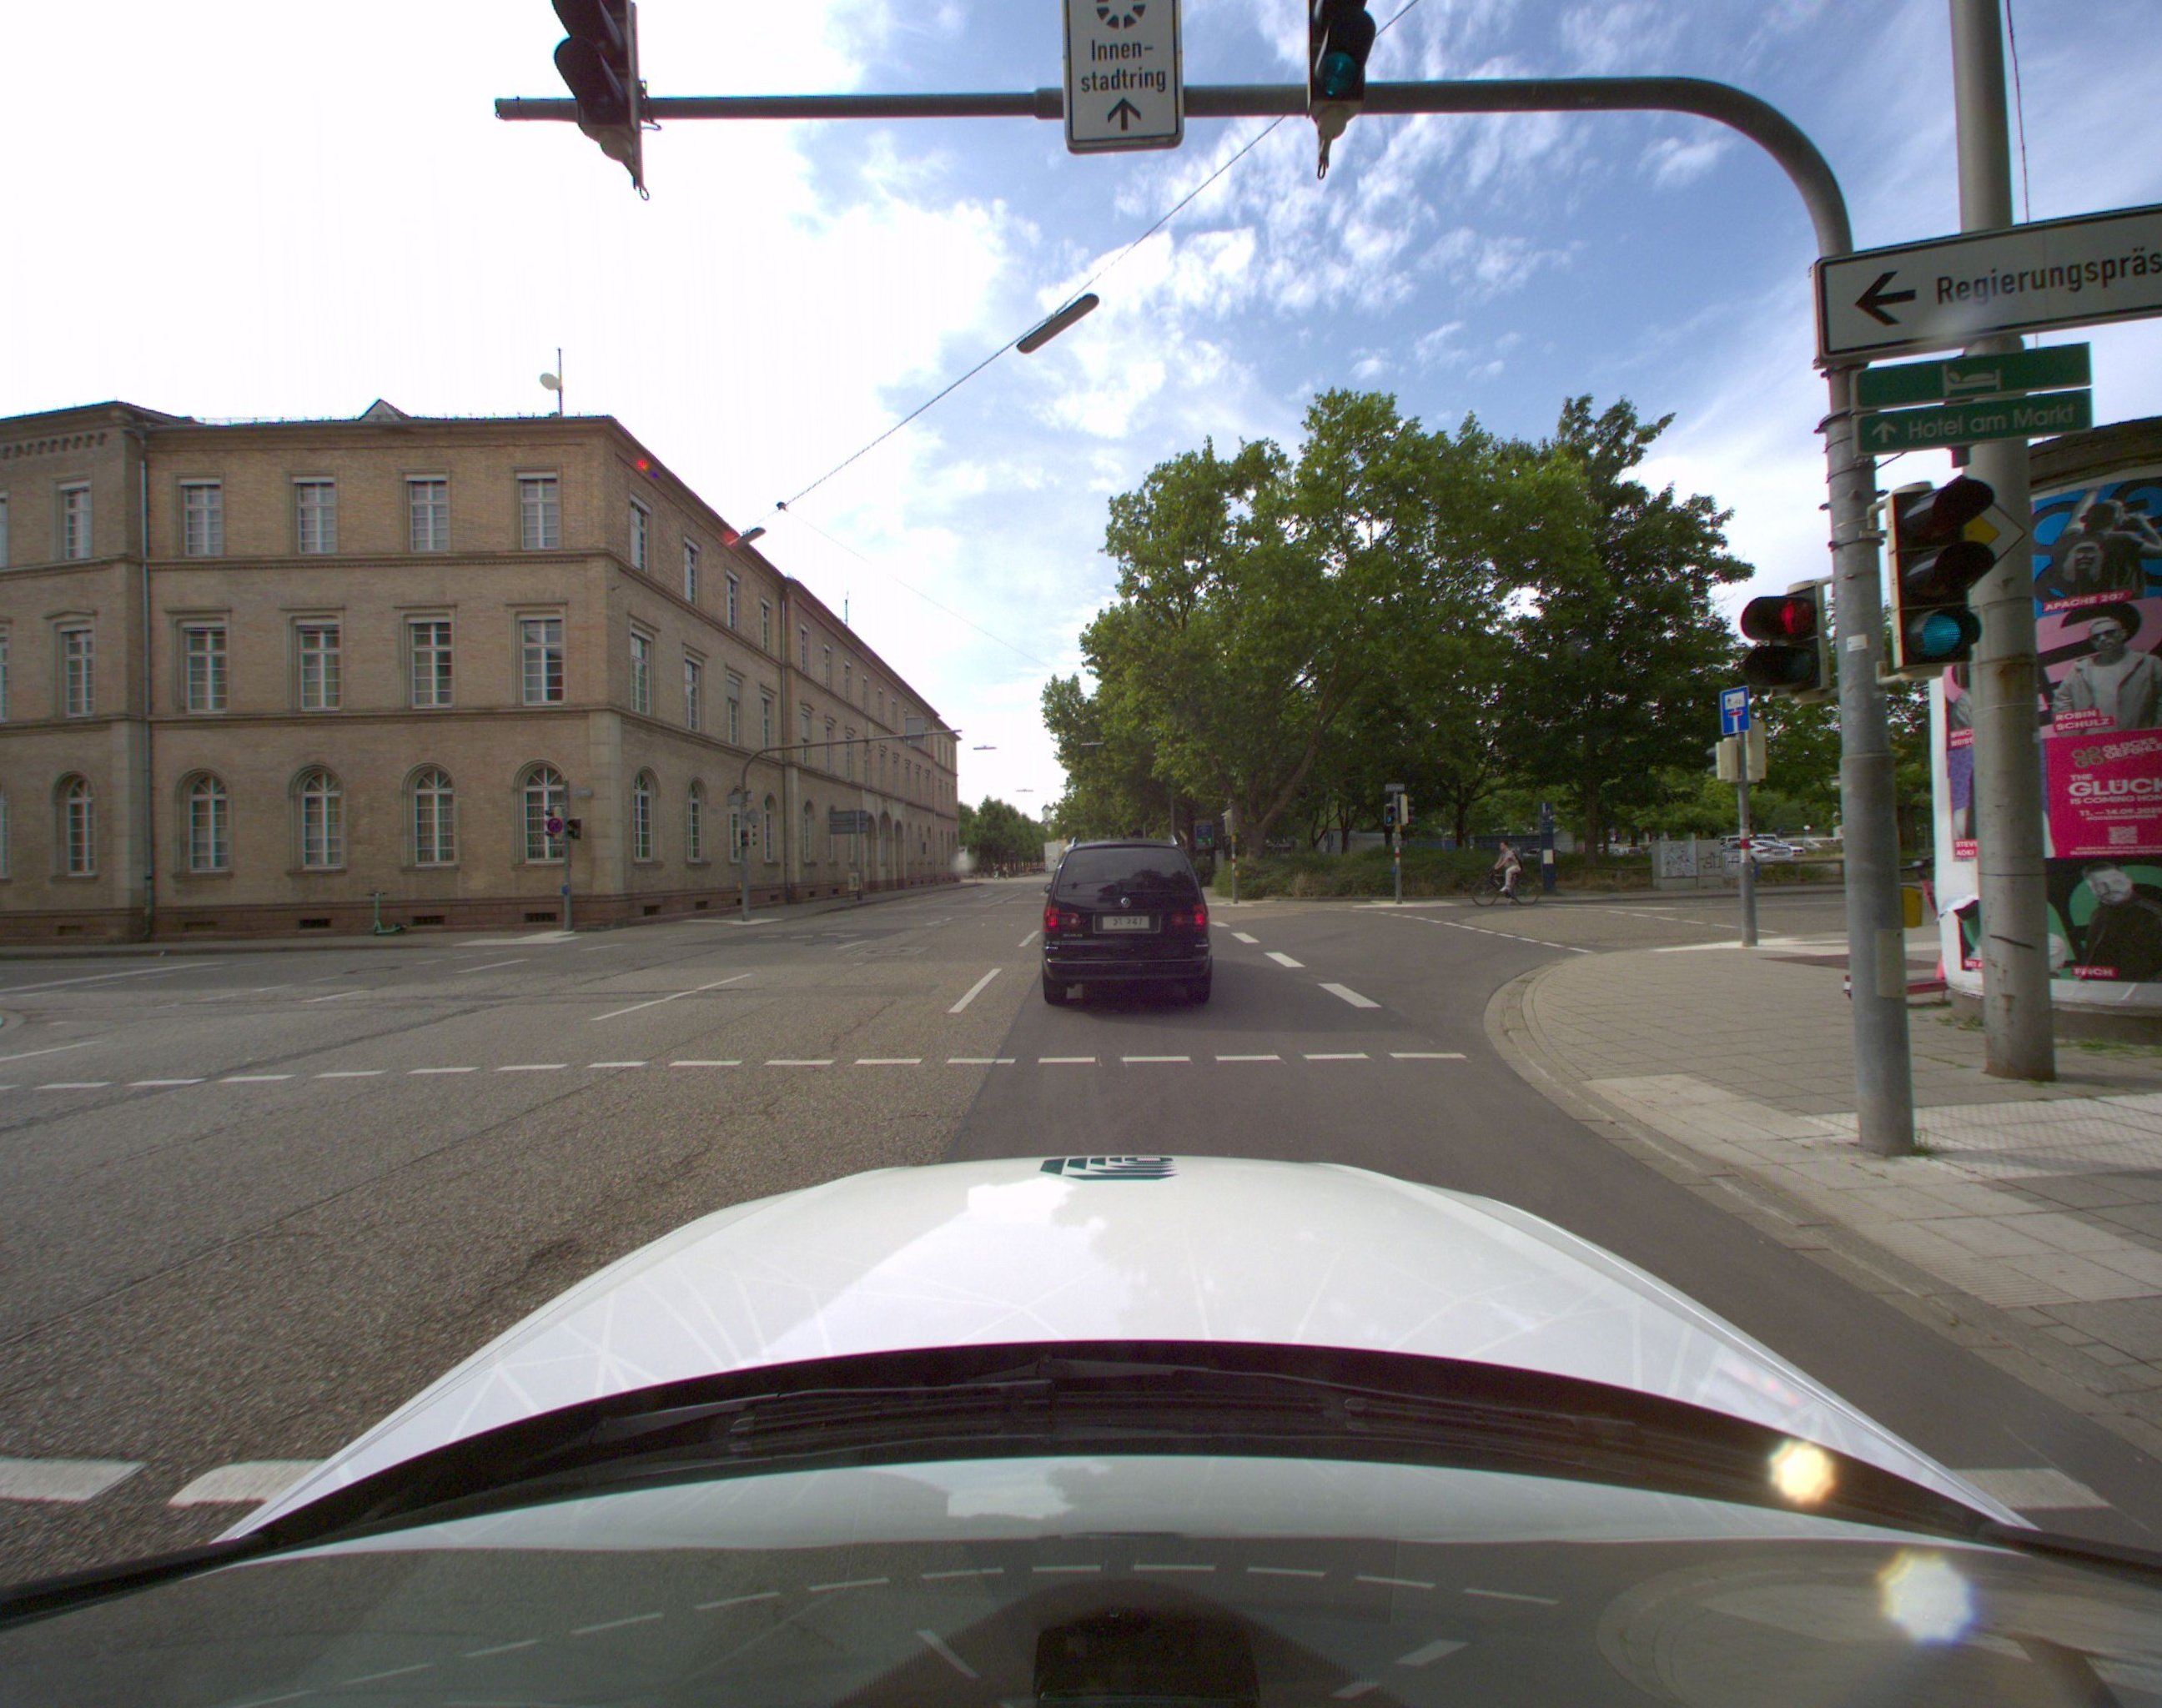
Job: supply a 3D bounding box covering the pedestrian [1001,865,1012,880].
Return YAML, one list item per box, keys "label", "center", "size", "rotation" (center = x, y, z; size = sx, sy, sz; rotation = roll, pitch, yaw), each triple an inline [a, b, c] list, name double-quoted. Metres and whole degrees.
- label: "pedestrian"
  center: [-7.961, 2.013, 87.556]
  size: [0.888, 1.641, 0.856]
  rotation: [0, -1, 19]

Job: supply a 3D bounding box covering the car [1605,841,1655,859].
- label: "car"
  center: [50.369, -0.378, 74.776]
  size: [1.988, 1.580, 3.787]
  rotation: [0, -1, -2]

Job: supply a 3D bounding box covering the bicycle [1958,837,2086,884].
- label: "bicycle"
  center: [25.516, 0.186, 22.118]
  size: [2.233, 1.172, 0.917]
  rotation: [-2, -2, 5]

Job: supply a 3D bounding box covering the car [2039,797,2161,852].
- label: "car"
  center: [54.094, -1.458, 42.189]
  size: [2.428, 2.614, 5.493]
  rotation: [0, -1, -1]

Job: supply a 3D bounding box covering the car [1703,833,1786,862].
- label: "car"
  center: [47.660, -0.403, 58.648]
  size: [1.989, 2.014, 4.767]
  rotation: [0, -1, -3]

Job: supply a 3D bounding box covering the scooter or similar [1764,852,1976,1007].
- label: "scooter or similar"
  center: [6.674, 0.628, 6.920]
  size: [1.299, 1.209, 0.345]
  rotation: [-4, -1, 5]

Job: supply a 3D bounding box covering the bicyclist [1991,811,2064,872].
- label: "bicyclist"
  center: [25.697, -0.326, 22.122]
  size: [0.825, 1.577, 0.917]
  rotation: [-2, -2, 6]

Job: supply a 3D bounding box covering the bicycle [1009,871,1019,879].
- label: "bicycle"
  center: [-9.151, 2.877, 111.017]
  size: [0.954, 1.110, 2.565]
  rotation: [0, -1, -16]

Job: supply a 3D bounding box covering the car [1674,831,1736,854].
- label: "car"
  center: [57.589, -1.069, 75.263]
  size: [1.988, 2.014, 4.770]
  rotation: [0, -1, -2]

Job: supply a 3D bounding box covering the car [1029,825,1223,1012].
- label: "car"
  center: [0.457, 0.630, 9.768]
  size: [1.787, 1.708, 4.131]
  rotation: [-2, -1, 1]

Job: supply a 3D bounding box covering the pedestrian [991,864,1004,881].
- label: "pedestrian"
  center: [-9.050, 2.000, 87.986]
  size: [0.952, 1.741, 1.262]
  rotation: [0, -1, 19]

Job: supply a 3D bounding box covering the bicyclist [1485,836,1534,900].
- label: "bicyclist"
  center: [11.528, 0.377, 21.937]
  size: [0.825, 1.678, 0.917]
  rotation: [-2, -2, 6]

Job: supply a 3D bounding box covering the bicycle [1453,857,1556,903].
- label: "bicycle"
  center: [11.373, 0.704, 21.933]
  size: [2.233, 1.172, 0.917]
  rotation: [-2, -2, 5]

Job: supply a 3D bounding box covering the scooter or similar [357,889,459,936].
- label: "scooter or similar"
  center: [-17.544, 1.507, 21.244]
  size: [2.356, 1.165, 0.561]
  rotation: [0, -1, 6]

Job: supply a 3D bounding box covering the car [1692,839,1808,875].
- label: "car"
  center: [34.364, 0.167, 42.029]
  size: [1.988, 1.794, 4.770]
  rotation: [0, -1, -2]
